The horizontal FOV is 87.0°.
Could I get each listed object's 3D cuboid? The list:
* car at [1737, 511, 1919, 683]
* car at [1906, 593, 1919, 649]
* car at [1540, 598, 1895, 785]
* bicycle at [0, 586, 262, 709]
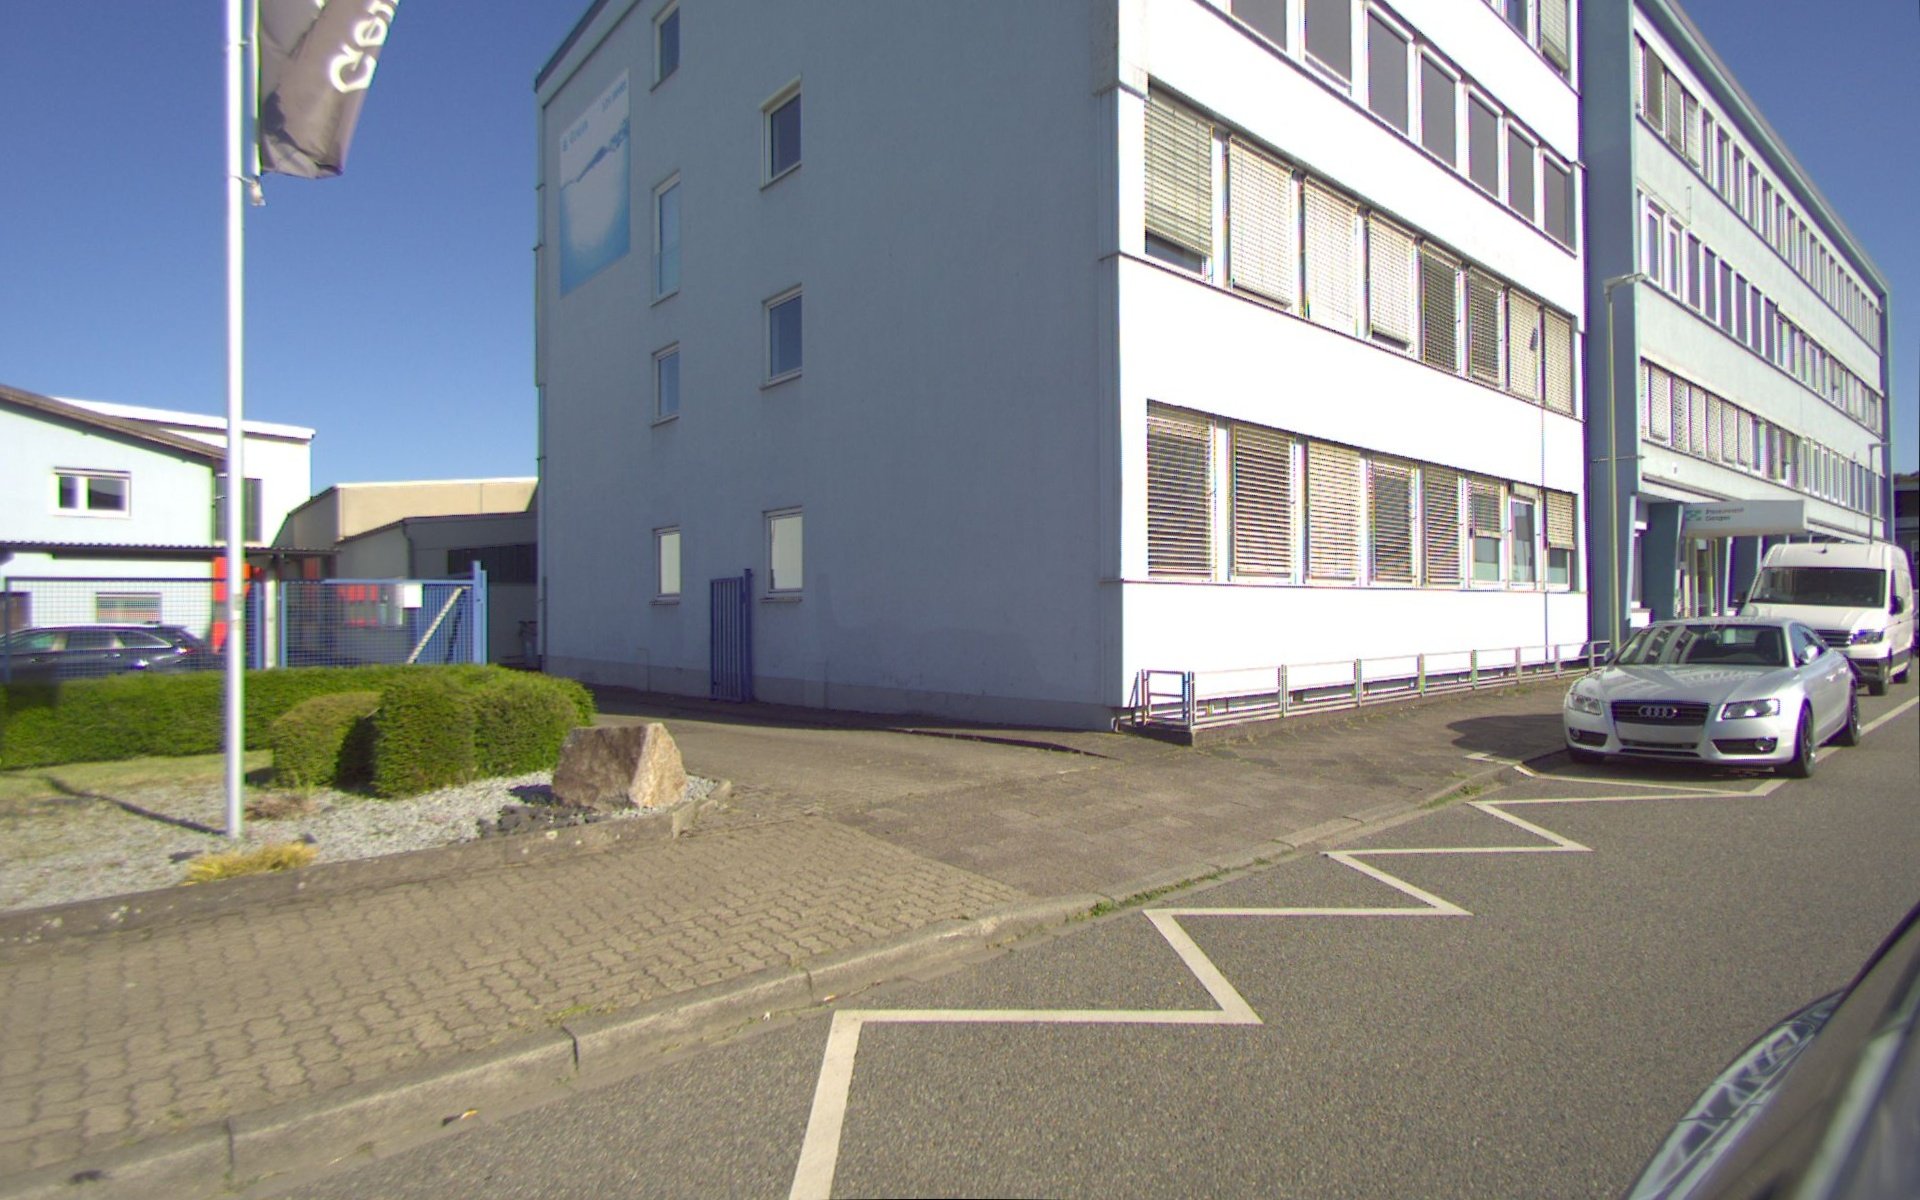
[{"bbox_3d":[15.945,-0.031,18.255,5.946,2.630,1.997,1,0,-42],"label":"car"},{"bbox_3d":[29.640,0.584,29.984,5.003,1.580,1.892,0,-1,-42],"label":"car"},{"bbox_3d":[7.967,0.756,10.428,5.035,1.423,1.897,-1,-2,-41],"label":"car"},{"bbox_3d":[-15.422,0.790,18.702,3.932,2.039,1.996,0,-1,-43],"label":"bicycle"}]
